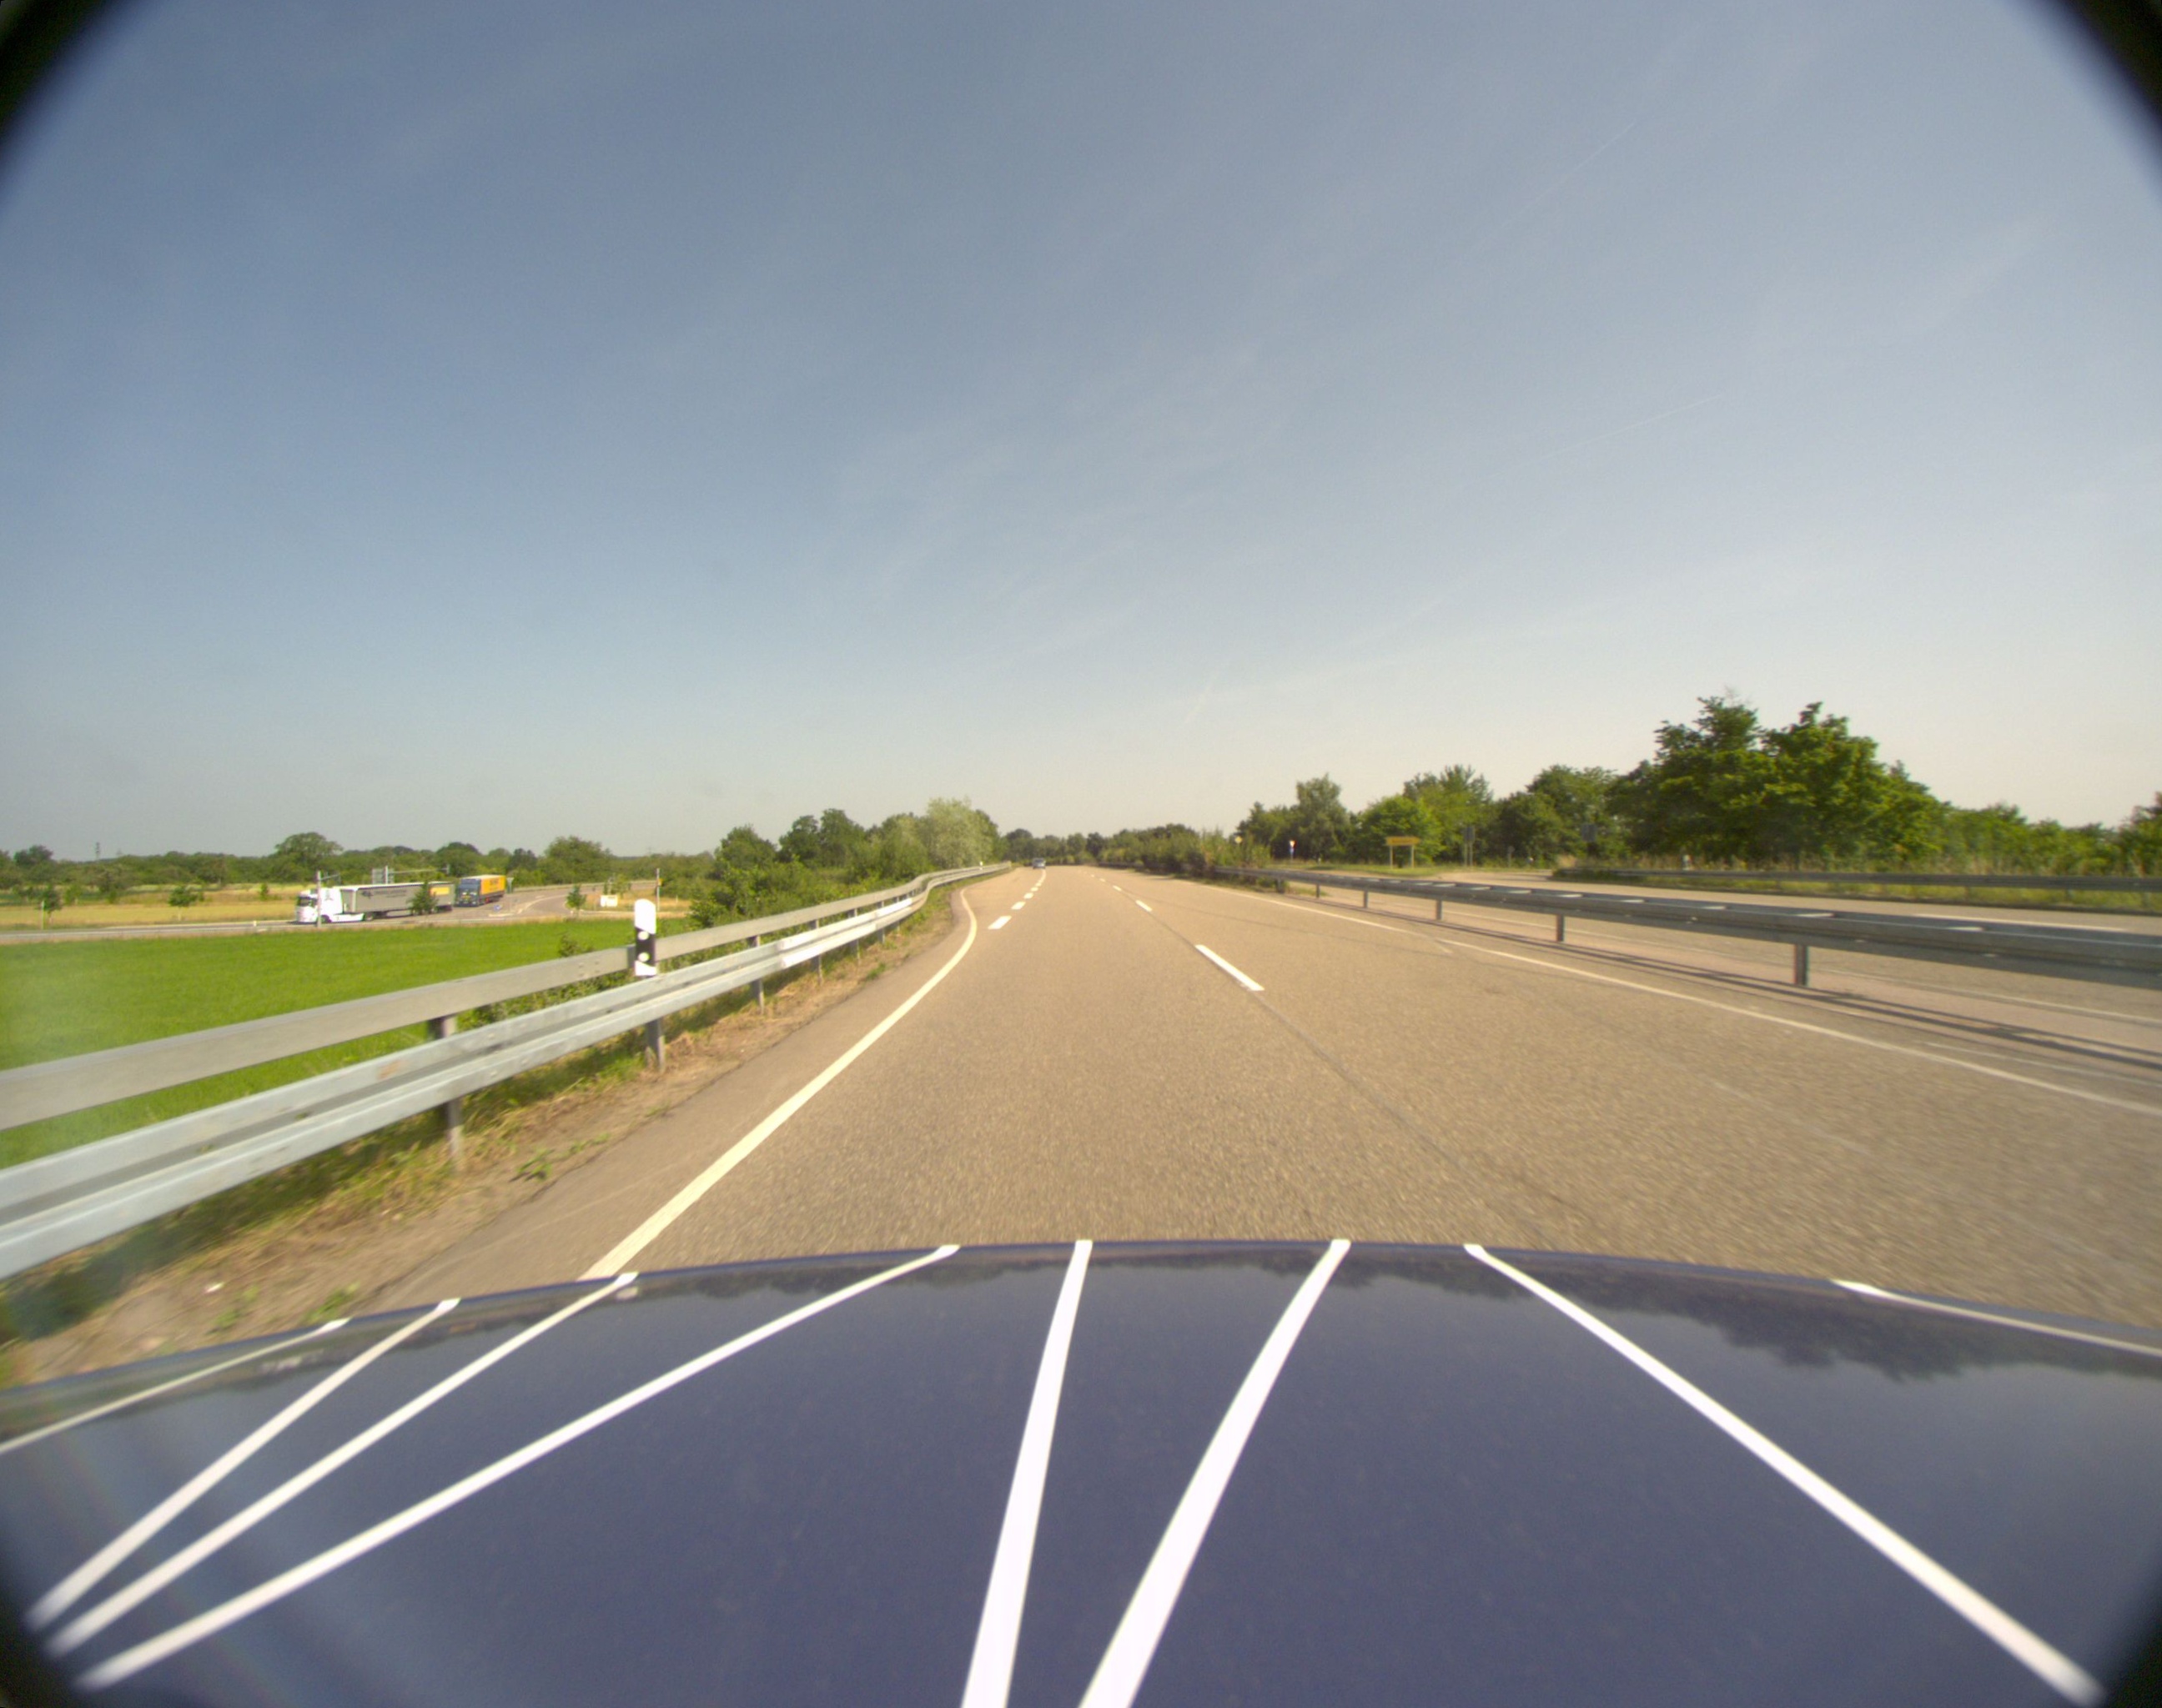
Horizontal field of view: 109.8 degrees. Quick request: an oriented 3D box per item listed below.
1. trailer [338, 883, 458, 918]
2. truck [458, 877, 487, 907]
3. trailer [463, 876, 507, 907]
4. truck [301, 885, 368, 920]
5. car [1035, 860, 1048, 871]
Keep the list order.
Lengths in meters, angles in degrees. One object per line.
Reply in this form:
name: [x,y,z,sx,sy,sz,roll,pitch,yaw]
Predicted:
trailer: [-82.805,5.523,92.720,2.107,3.630,13.932,-1,-1,0]
truck: [-87.432,5.452,109.266,2.265,4.145,4.362,-1,0,-26]
trailer: [-90.368,5.557,115.414,2.265,4.145,14.395,-1,-1,-26]
truck: [-83.911,5.414,85.492,2.103,3.655,4.953,-2,-1,33]
car: [-5.833,1.685,113.275,1.703,1.474,3.599,-3,-1,-6]
